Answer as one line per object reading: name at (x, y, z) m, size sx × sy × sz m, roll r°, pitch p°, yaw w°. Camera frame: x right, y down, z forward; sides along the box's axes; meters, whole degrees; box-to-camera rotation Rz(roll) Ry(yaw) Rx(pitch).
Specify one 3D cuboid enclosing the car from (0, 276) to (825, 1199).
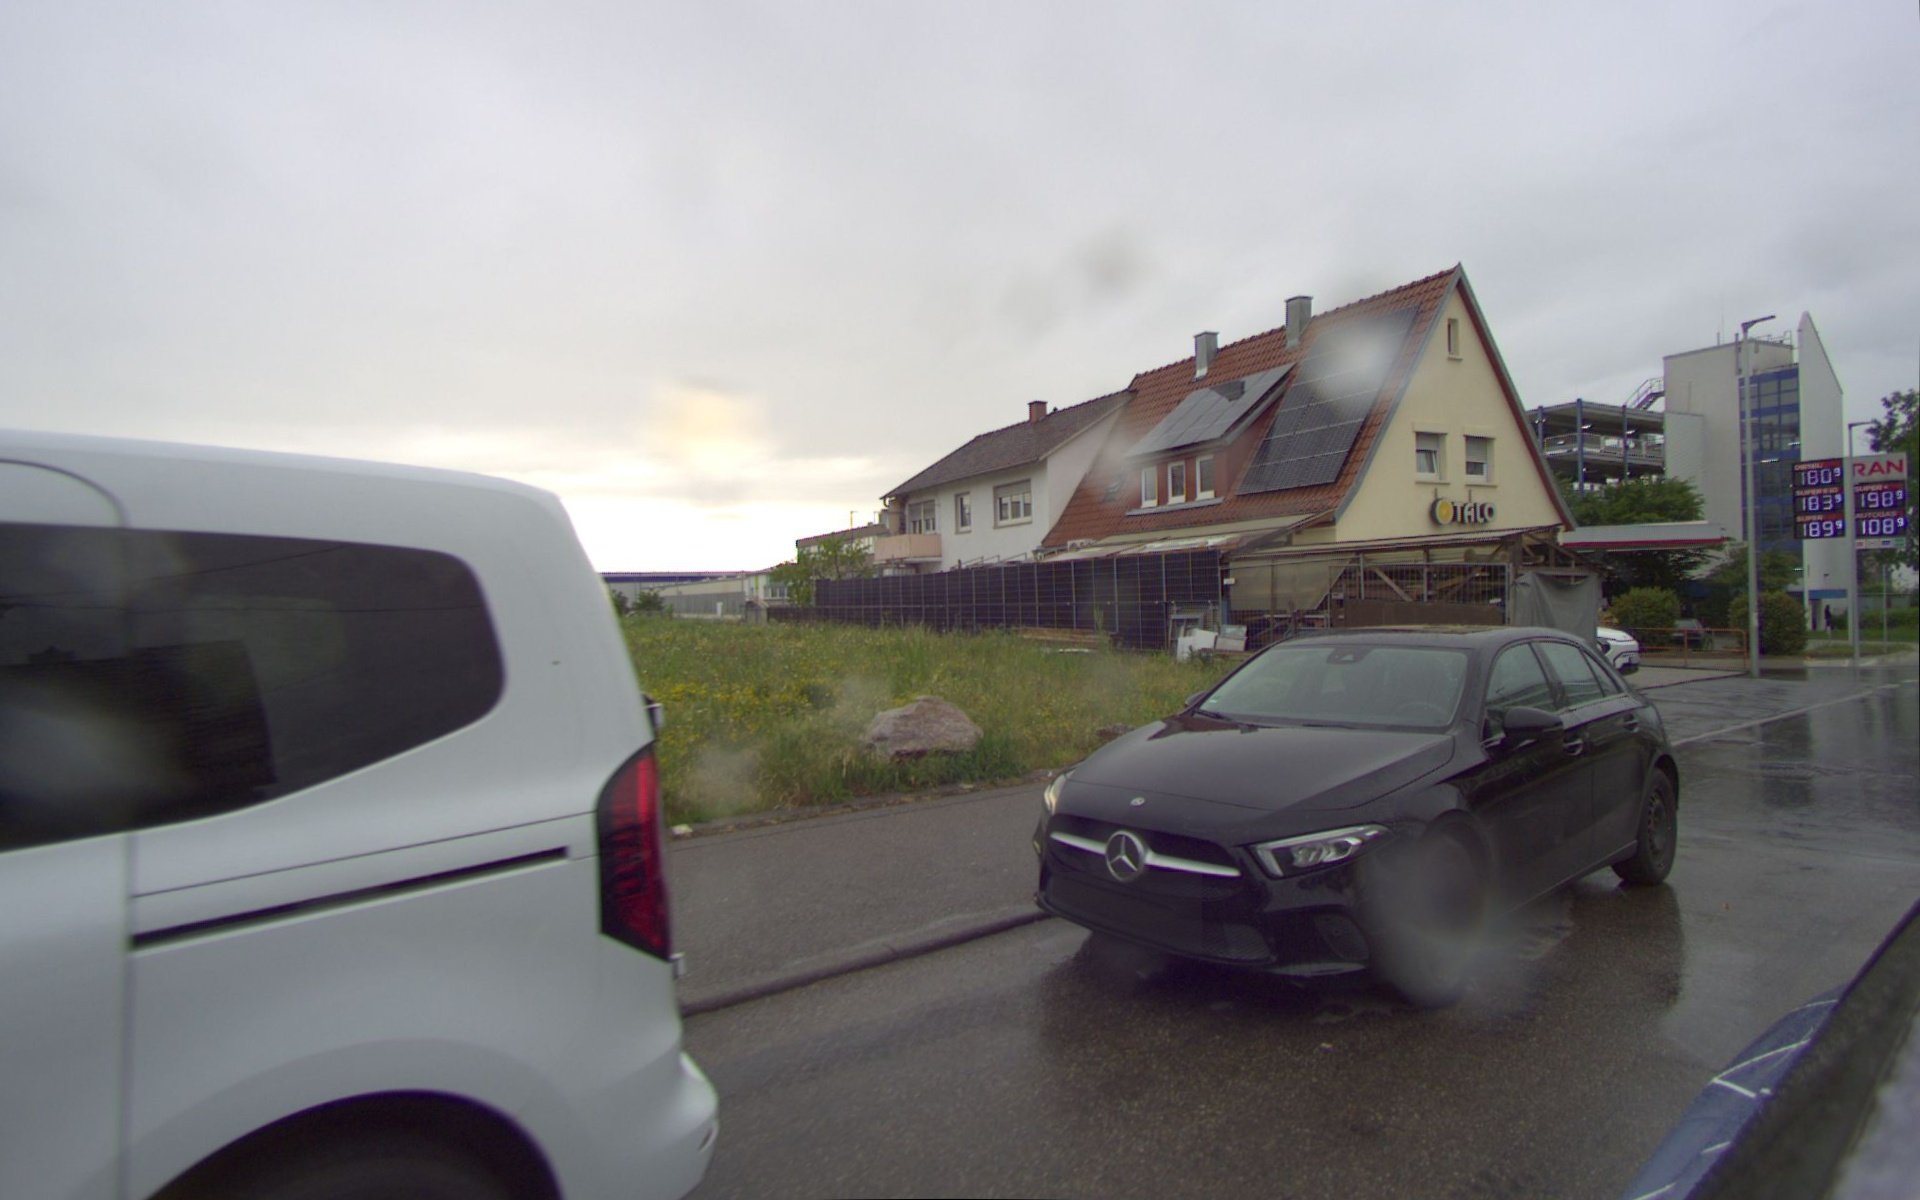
car at (-2.570, 0.534, 1.328) m, size 4.493 × 1.849 × 1.771 m, roll 0°, pitch -2°, yaw -40°

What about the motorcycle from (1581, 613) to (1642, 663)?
motorcycle at (15.105, 0.869, 23.455) m, size 1.962 × 1.110 × 0.489 m, roll 1°, pitch -2°, yaw -36°

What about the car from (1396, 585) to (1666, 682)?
car at (11.004, 0.548, 19.738) m, size 1.828 × 1.630 × 4.224 m, roll -1°, pitch 2°, yaw -40°

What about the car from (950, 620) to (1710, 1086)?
car at (2.151, 0.836, 5.198) m, size 4.244 × 1.353 × 1.771 m, roll 0°, pitch -2°, yaw -40°

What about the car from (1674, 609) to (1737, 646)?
car at (29.858, 1.054, 40.477) m, size 1.687 × 1.357 × 4.276 m, roll -2°, pitch -1°, yaw 41°
